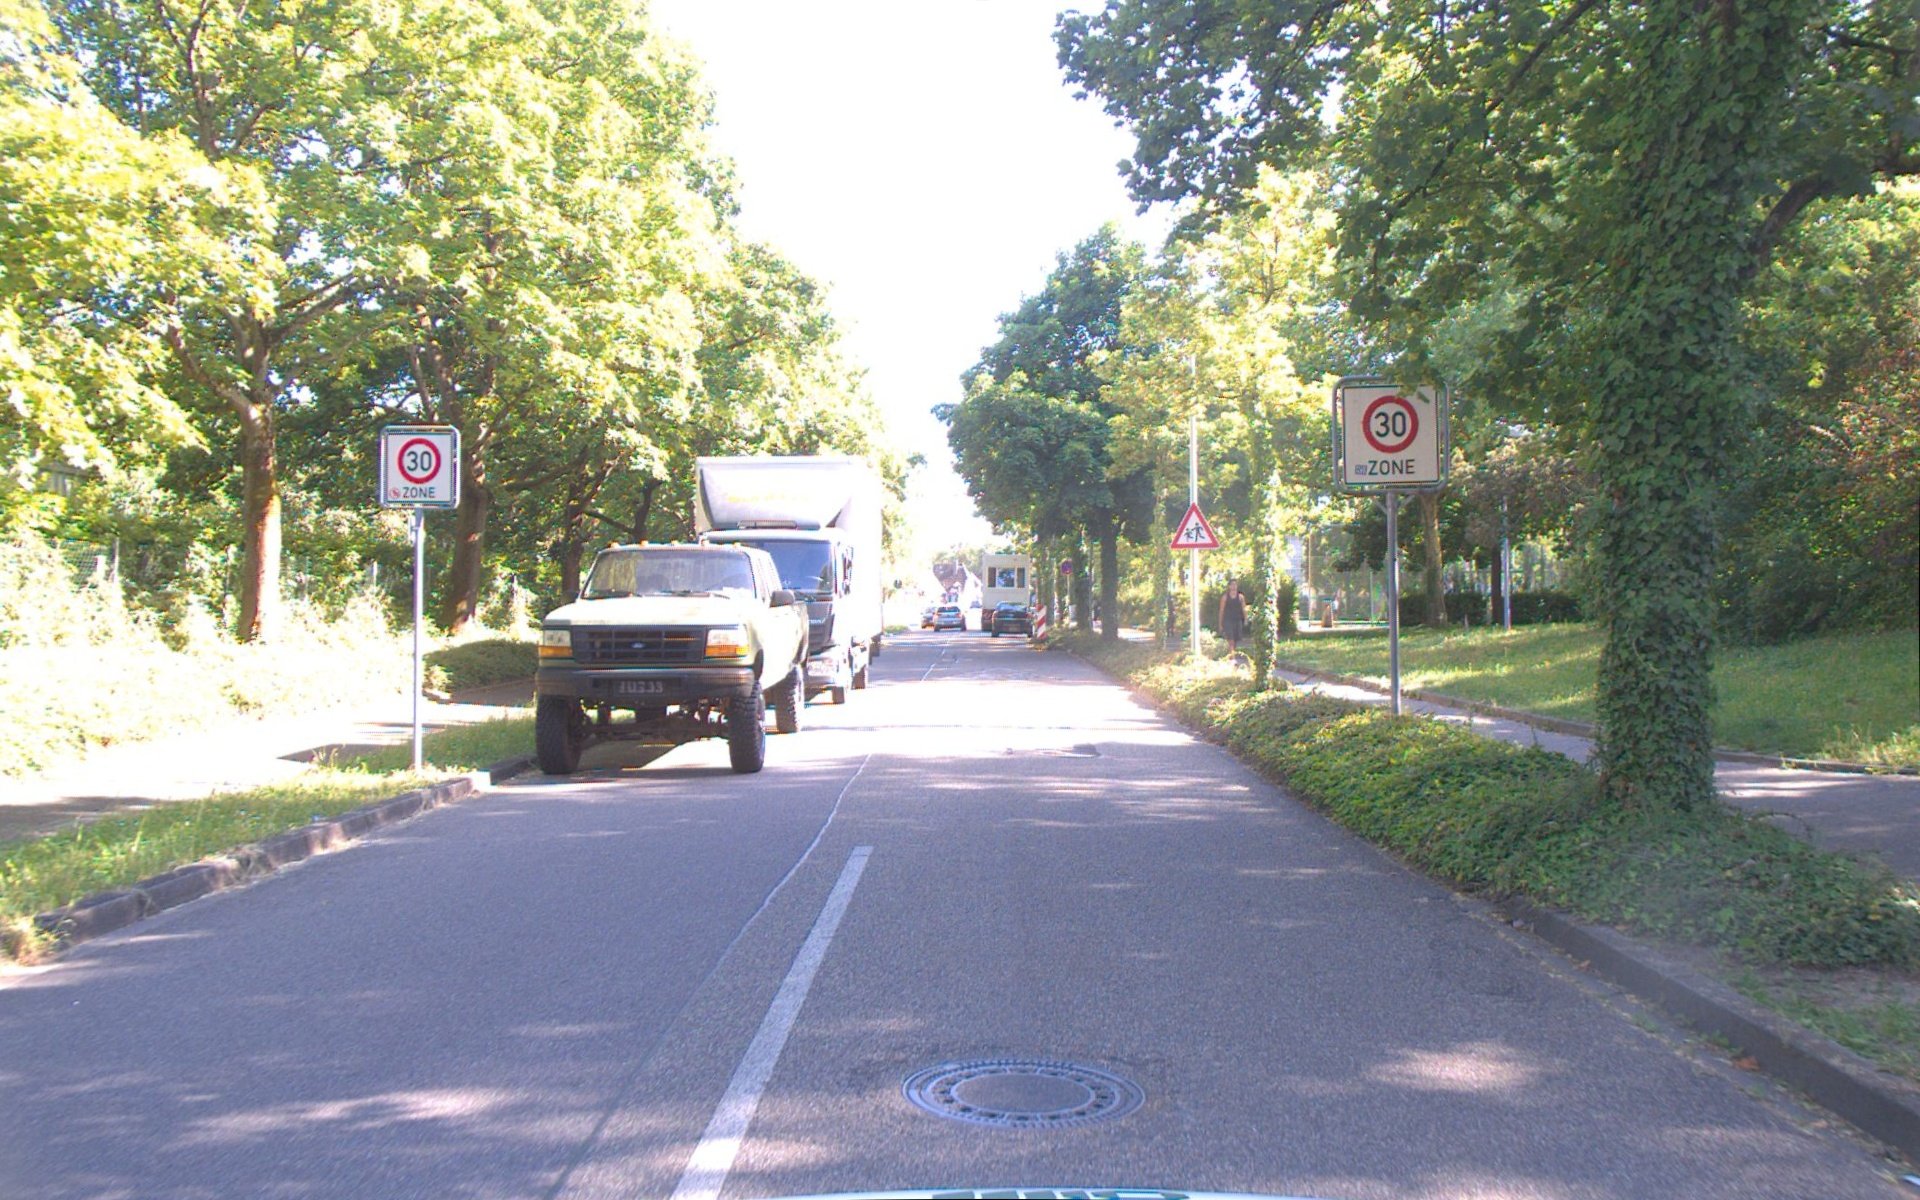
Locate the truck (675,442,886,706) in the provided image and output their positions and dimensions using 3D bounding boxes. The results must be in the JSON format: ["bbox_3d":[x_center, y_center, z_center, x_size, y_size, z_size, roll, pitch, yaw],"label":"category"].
[{"bbox_3d":[-2.710,-0.376,27.296,2.560,3.690,7.956,-1,0,0],"label":"truck"}]

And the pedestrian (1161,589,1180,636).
[{"bbox_3d":[7.624,0.437,60.025,0.634,1.690,0.650,0,0,2],"label":"pedestrian"}]

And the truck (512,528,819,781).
[{"bbox_3d":[-2.795,0.462,17.441,2.070,2.131,6.647,-1,0,0],"label":"truck"}]

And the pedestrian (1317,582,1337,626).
[{"bbox_3d":[14.227,0.150,64.122,0.634,1.690,0.650,0,0,2],"label":"pedestrian"}]

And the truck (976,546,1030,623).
[{"bbox_3d":[2.366,-0.841,91.277,2.828,4.013,10.002,0,0,1],"label":"truck"}]

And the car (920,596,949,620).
[{"bbox_3d":[-1.669,0.508,108.293,1.757,1.537,4.001,0,0,1],"label":"car"}]

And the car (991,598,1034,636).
[{"bbox_3d":[2.186,0.694,69.166,1.757,1.537,4.001,0,0,1],"label":"car"}]

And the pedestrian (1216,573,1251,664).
[{"bbox_3d":[5.650,0.376,34.199,0.634,1.852,0.650,0,0,1],"label":"pedestrian"}]

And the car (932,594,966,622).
[{"bbox_3d":[-0.598,0.430,92.362,1.757,1.537,4.001,0,0,1],"label":"car"}]
